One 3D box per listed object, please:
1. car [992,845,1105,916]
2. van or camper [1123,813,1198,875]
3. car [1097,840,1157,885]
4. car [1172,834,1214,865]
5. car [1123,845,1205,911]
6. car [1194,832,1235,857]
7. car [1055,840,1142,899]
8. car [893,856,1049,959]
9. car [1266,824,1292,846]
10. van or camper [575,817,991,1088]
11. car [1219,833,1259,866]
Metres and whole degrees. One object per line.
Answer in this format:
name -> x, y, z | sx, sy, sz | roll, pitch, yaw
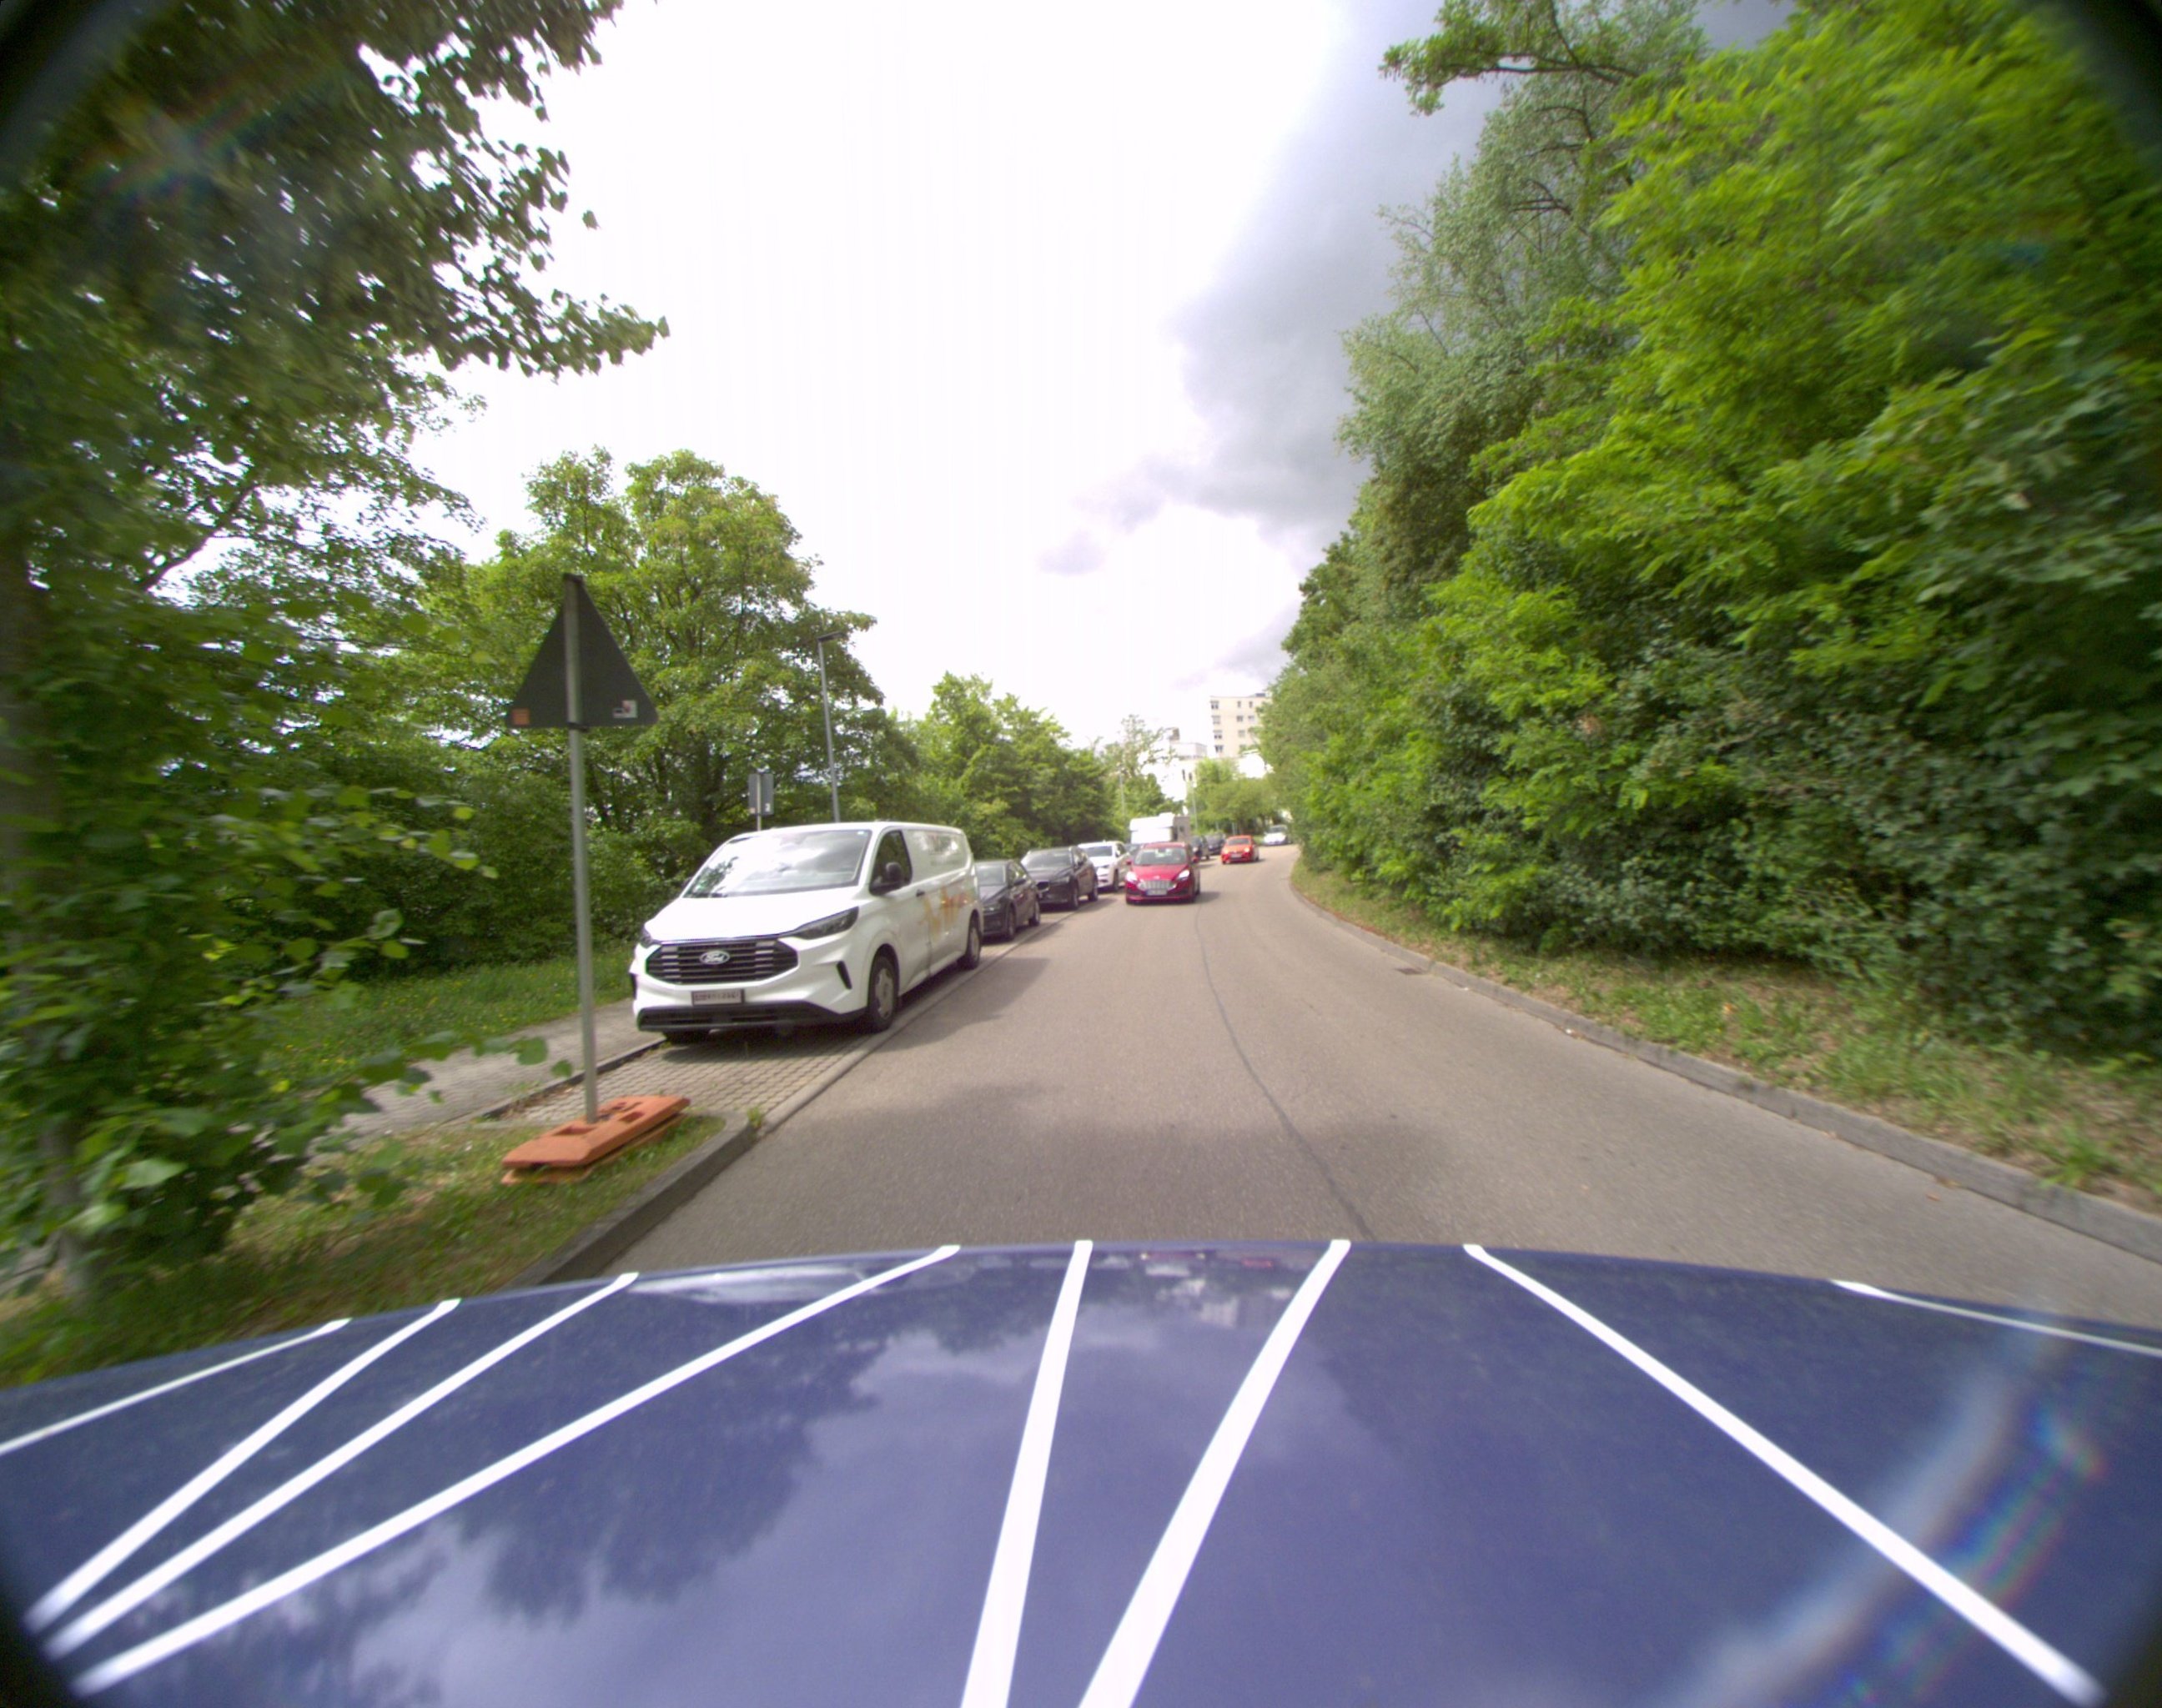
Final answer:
car -> -0.748, 0.626, 20.597 | 1.997, 1.617, 4.281 | -3, 1, 12
van or camper -> 4.307, -0.626, 40.054 | 2.336, 2.853, 6.156 | -6, 1, 19
car -> 2.094, 0.322, 33.343 | 1.713, 1.582, 4.003 | -6, 1, 15
car -> 6.961, -0.307, 46.912 | 1.731, 1.511, 3.892 | -4, 3, 19
car -> 2.443, 0.605, 21.500 | 1.811, 1.600, 3.725 | -2, 1, 13
car -> 9.360, -0.710, 53.105 | 1.778, 1.426, 4.338 | -4, 2, 23
car -> 0.727, 0.461, 26.702 | 1.874, 1.679, 4.583 | -6, 0, 15
car -> -1.904, 0.902, 14.511 | 1.801, 1.456, 4.001 | -5, 1, 8
car -> 16.046, -1.589, 61.460 | 1.778, 1.444, 4.002 | -6, 2, 17
van or camper -> -2.547, 0.727, 8.289 | 1.998, 1.909, 5.267 | -4, 0, 4
car -> 8.659, -0.262, 41.817 | 1.860, 1.435, 4.001 | -6, 2, 9
